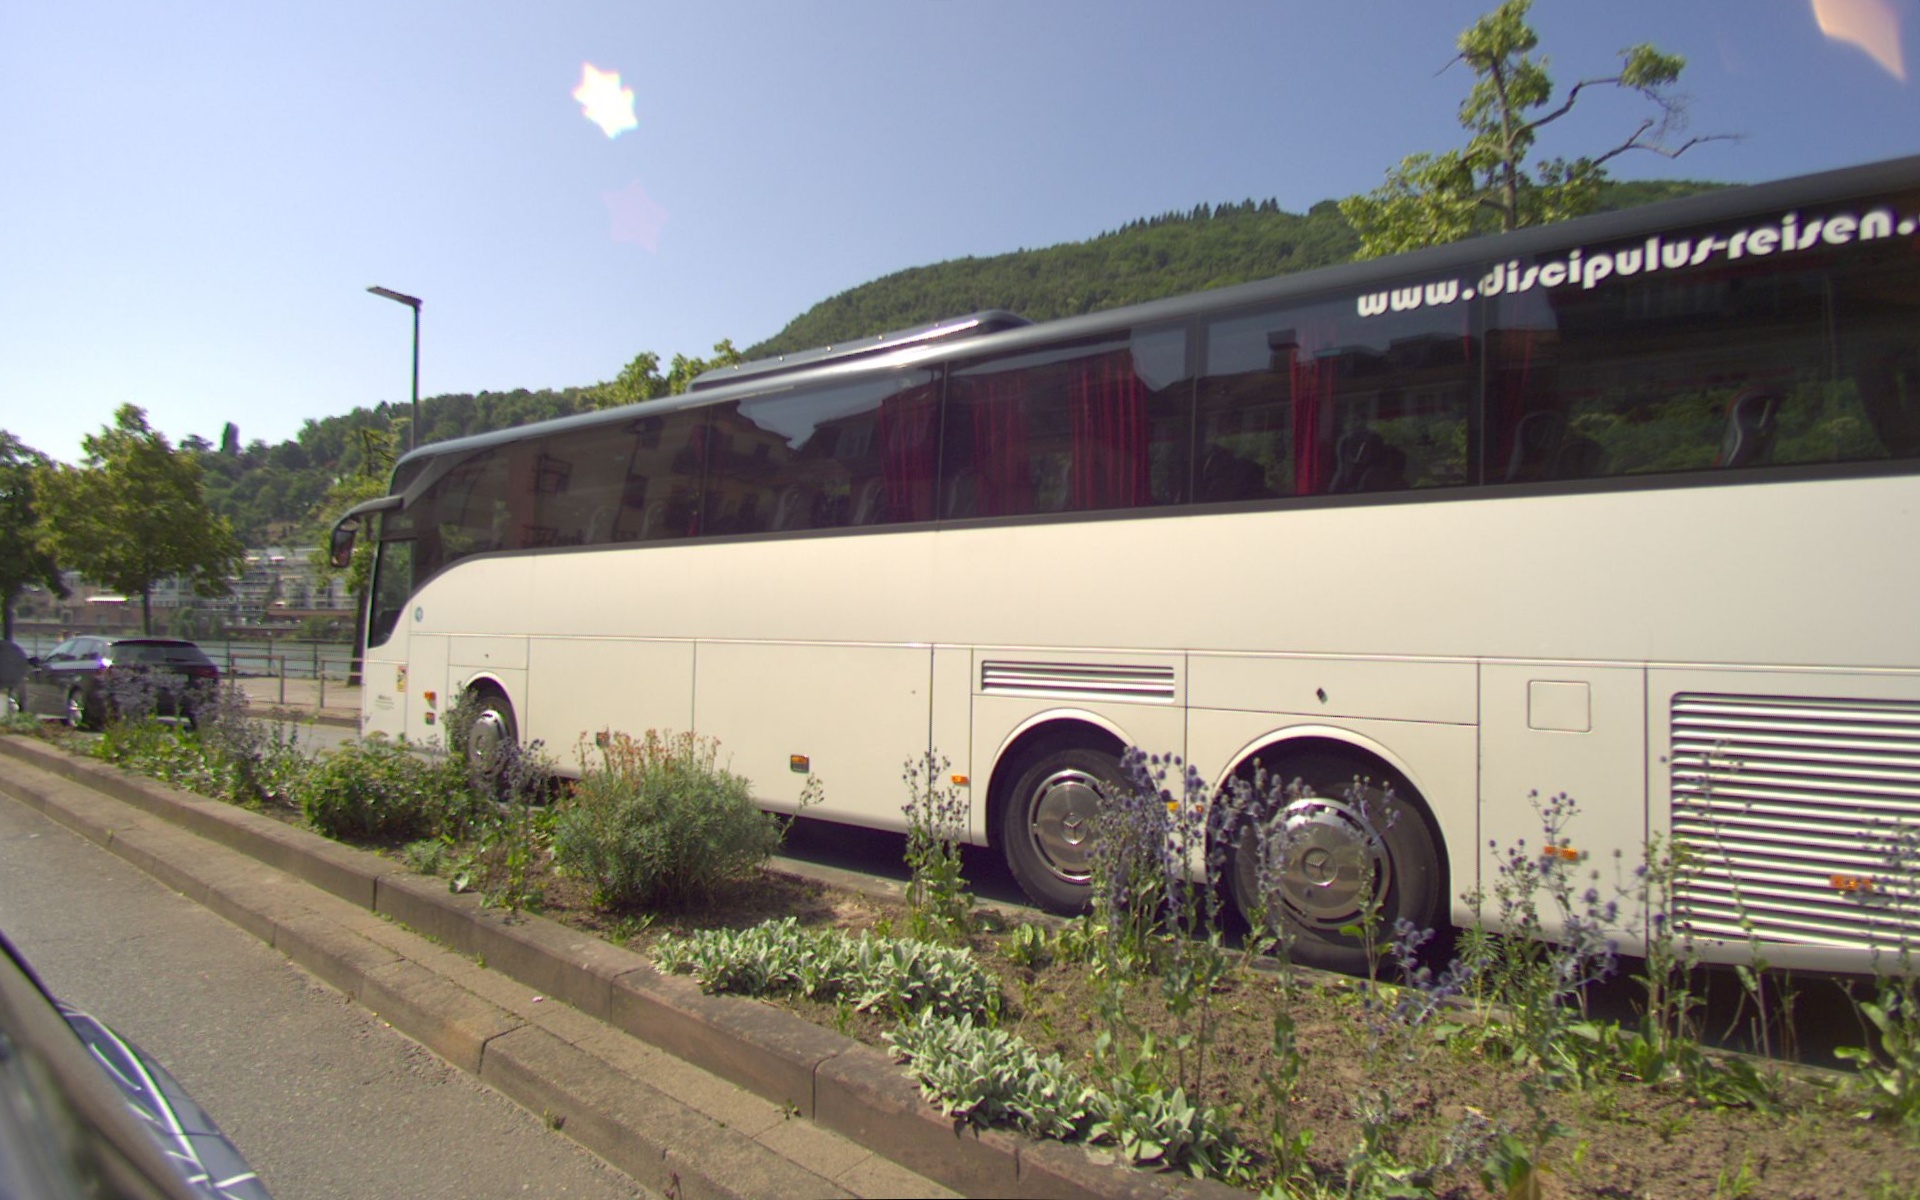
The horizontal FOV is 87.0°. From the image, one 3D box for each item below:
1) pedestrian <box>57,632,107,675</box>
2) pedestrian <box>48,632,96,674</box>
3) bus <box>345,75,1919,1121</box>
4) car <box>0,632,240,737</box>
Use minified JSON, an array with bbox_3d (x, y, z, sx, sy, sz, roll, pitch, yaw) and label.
[{"bbox_3d":[-27.284,1.666,31.458,0.847,1.291,0.929,-1,-3,33],"label":"pedestrian"},{"bbox_3d":[-28.041,1.672,31.964,0.847,1.291,0.929,-1,-3,33],"label":"pedestrian"},{"bbox_3d":[-0.369,0.011,7.789,12.958,3.591,2.607,0,-2,36],"label":"bus"},{"bbox_3d":[-13.351,1.257,15.905,4.178,1.440,1.803,-1,-4,32],"label":"car"}]
